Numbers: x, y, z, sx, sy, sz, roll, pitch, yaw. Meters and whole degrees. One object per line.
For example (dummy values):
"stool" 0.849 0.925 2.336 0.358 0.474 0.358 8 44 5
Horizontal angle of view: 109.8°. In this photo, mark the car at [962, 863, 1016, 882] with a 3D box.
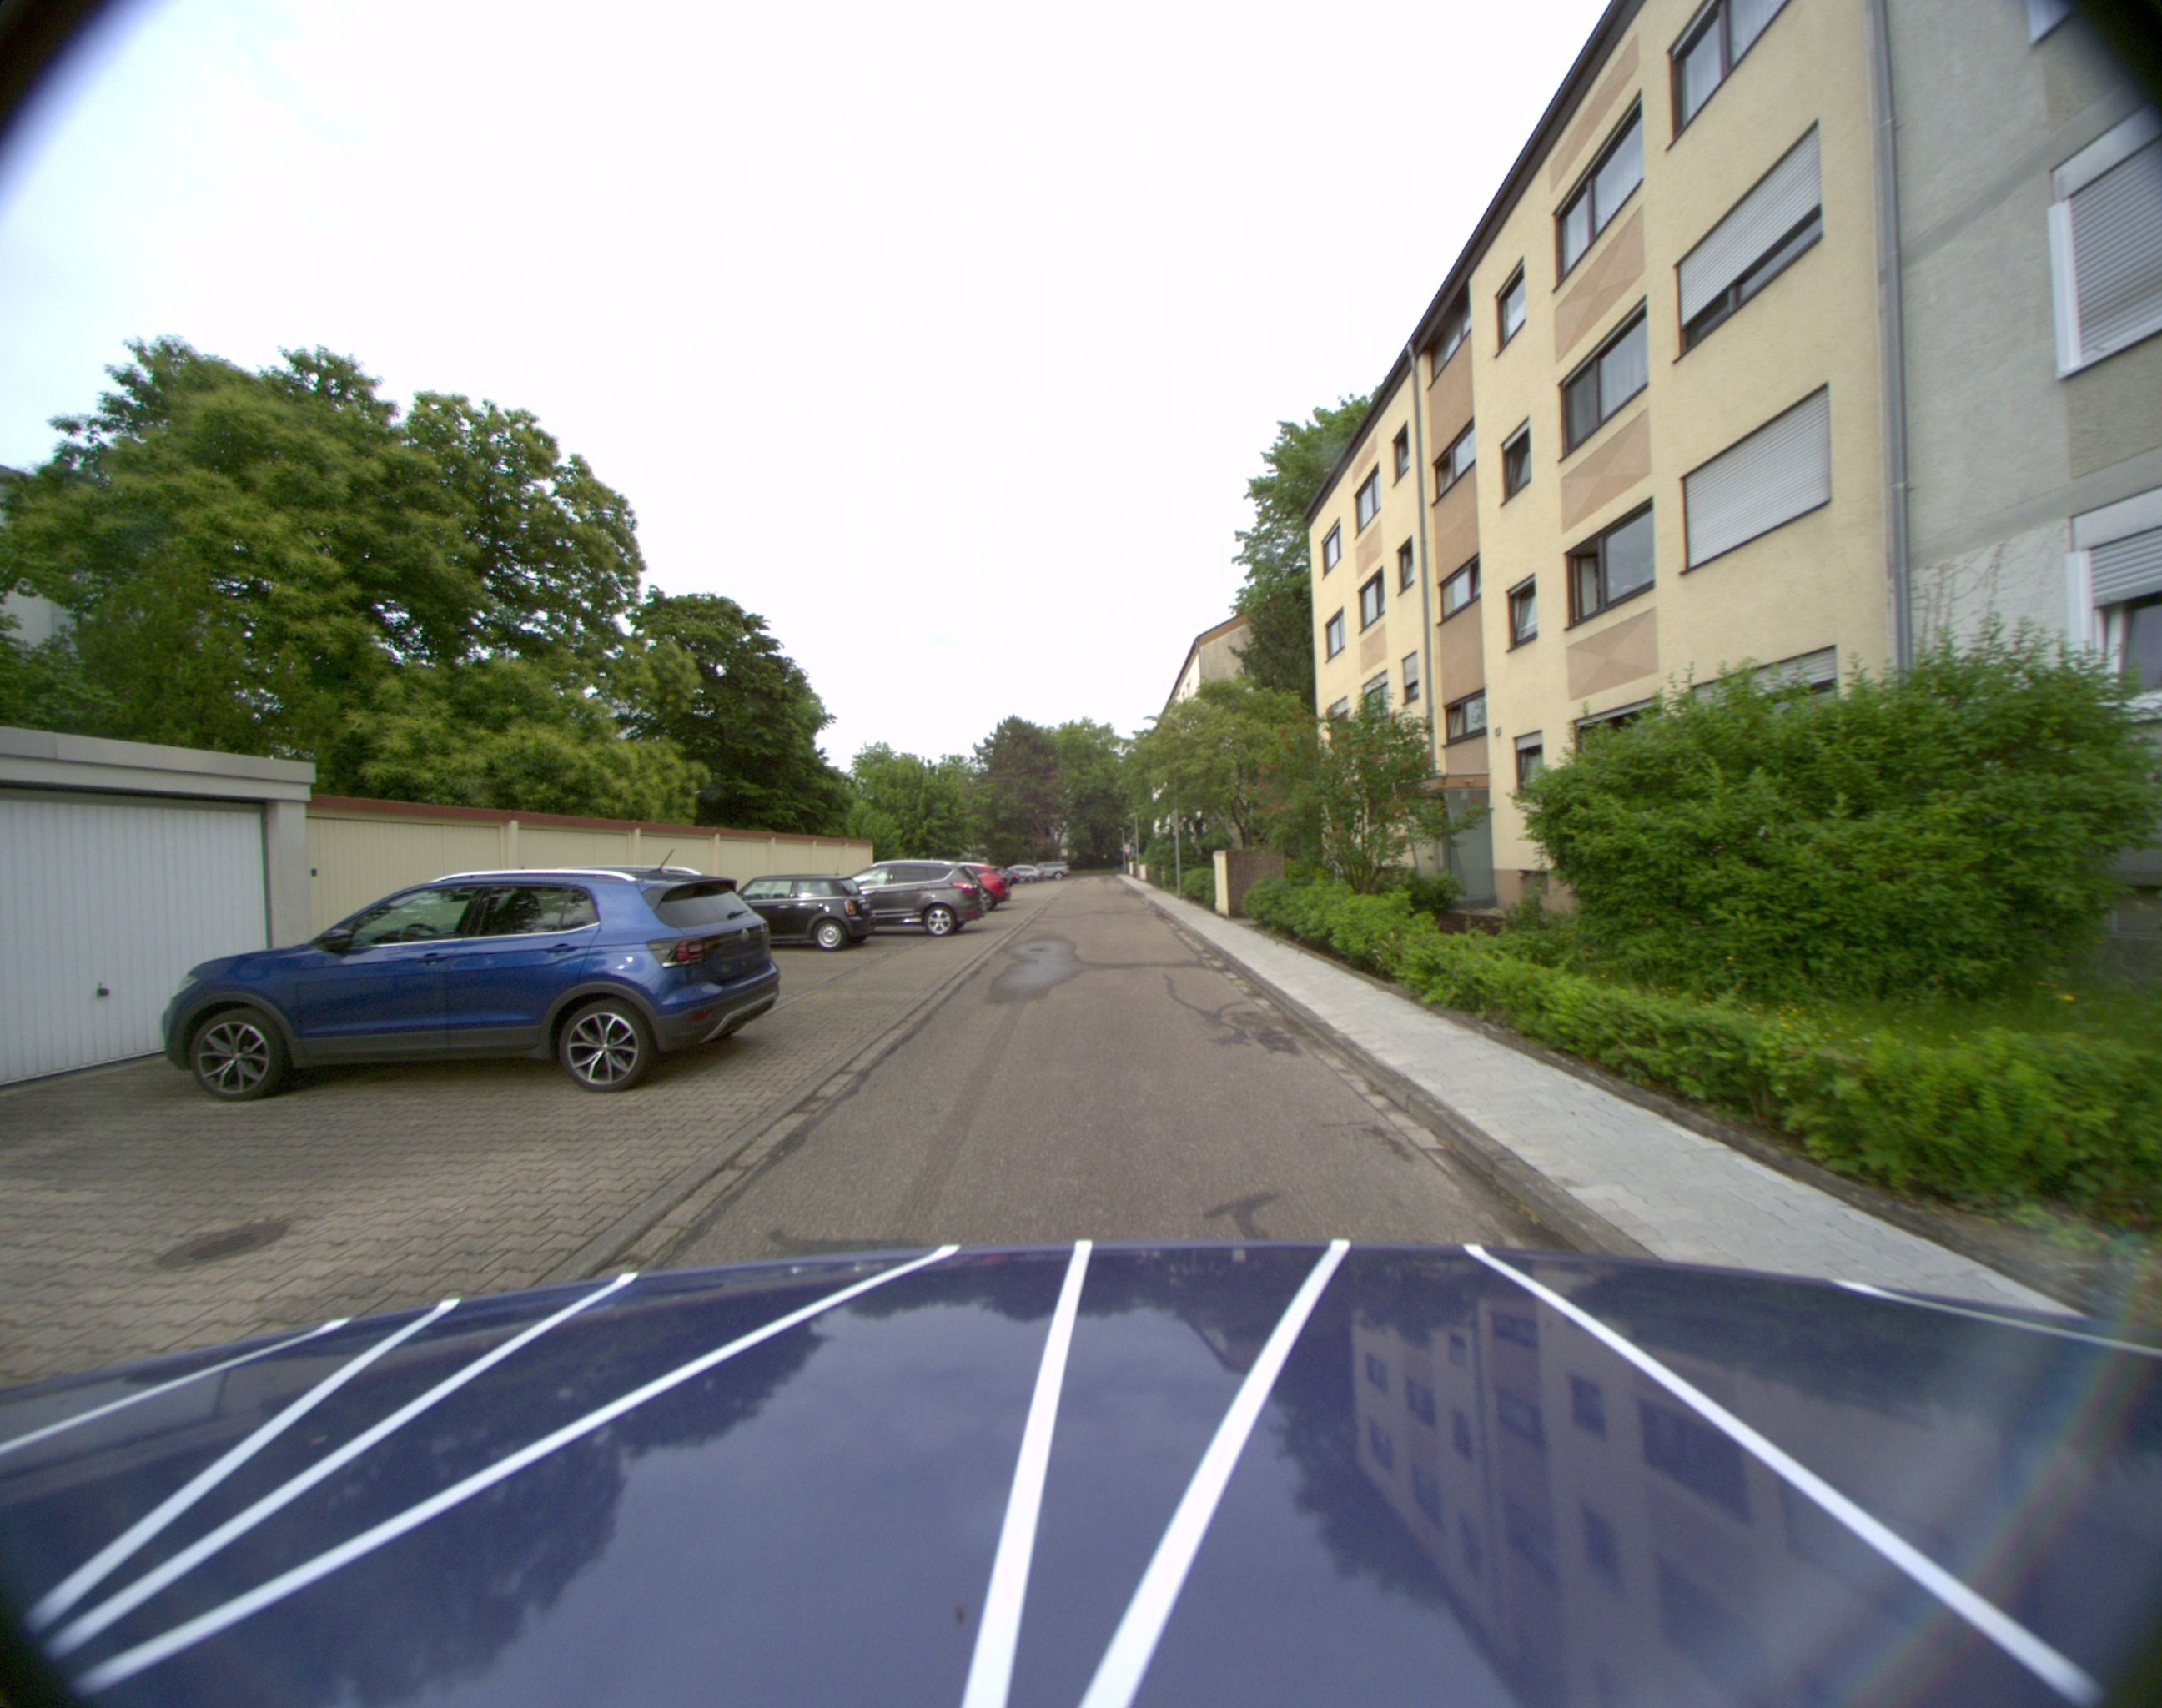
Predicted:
"car" -7.453 1.504 61.560 4.103 1.476 1.788 1 0 1

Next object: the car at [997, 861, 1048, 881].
"car" -4.899 1.455 63.849 4.104 1.476 1.787 -2 0 0

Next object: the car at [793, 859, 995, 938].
"car" -4.228 0.987 17.702 4.205 1.717 2.000 0 0 1

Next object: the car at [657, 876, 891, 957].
"car" -5.875 1.178 14.912 3.766 1.437 2.000 0 0 1

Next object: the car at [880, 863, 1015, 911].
"car" -4.489 1.106 26.049 4.299 1.576 1.935 0 0 0

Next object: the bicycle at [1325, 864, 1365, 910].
"bicycle" 6.208 0.771 17.962 0.315 1.045 1.692 -2 -2 0

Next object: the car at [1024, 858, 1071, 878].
"car" -2.967 1.267 68.804 4.104 1.636 1.787 -2 0 0

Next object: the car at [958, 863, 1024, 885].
"car" -6.260 1.382 53.260 4.334 1.476 1.788 1 0 1

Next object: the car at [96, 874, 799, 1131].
"car" -4.649 1.028 6.125 3.997 1.693 2.000 0 0 1
